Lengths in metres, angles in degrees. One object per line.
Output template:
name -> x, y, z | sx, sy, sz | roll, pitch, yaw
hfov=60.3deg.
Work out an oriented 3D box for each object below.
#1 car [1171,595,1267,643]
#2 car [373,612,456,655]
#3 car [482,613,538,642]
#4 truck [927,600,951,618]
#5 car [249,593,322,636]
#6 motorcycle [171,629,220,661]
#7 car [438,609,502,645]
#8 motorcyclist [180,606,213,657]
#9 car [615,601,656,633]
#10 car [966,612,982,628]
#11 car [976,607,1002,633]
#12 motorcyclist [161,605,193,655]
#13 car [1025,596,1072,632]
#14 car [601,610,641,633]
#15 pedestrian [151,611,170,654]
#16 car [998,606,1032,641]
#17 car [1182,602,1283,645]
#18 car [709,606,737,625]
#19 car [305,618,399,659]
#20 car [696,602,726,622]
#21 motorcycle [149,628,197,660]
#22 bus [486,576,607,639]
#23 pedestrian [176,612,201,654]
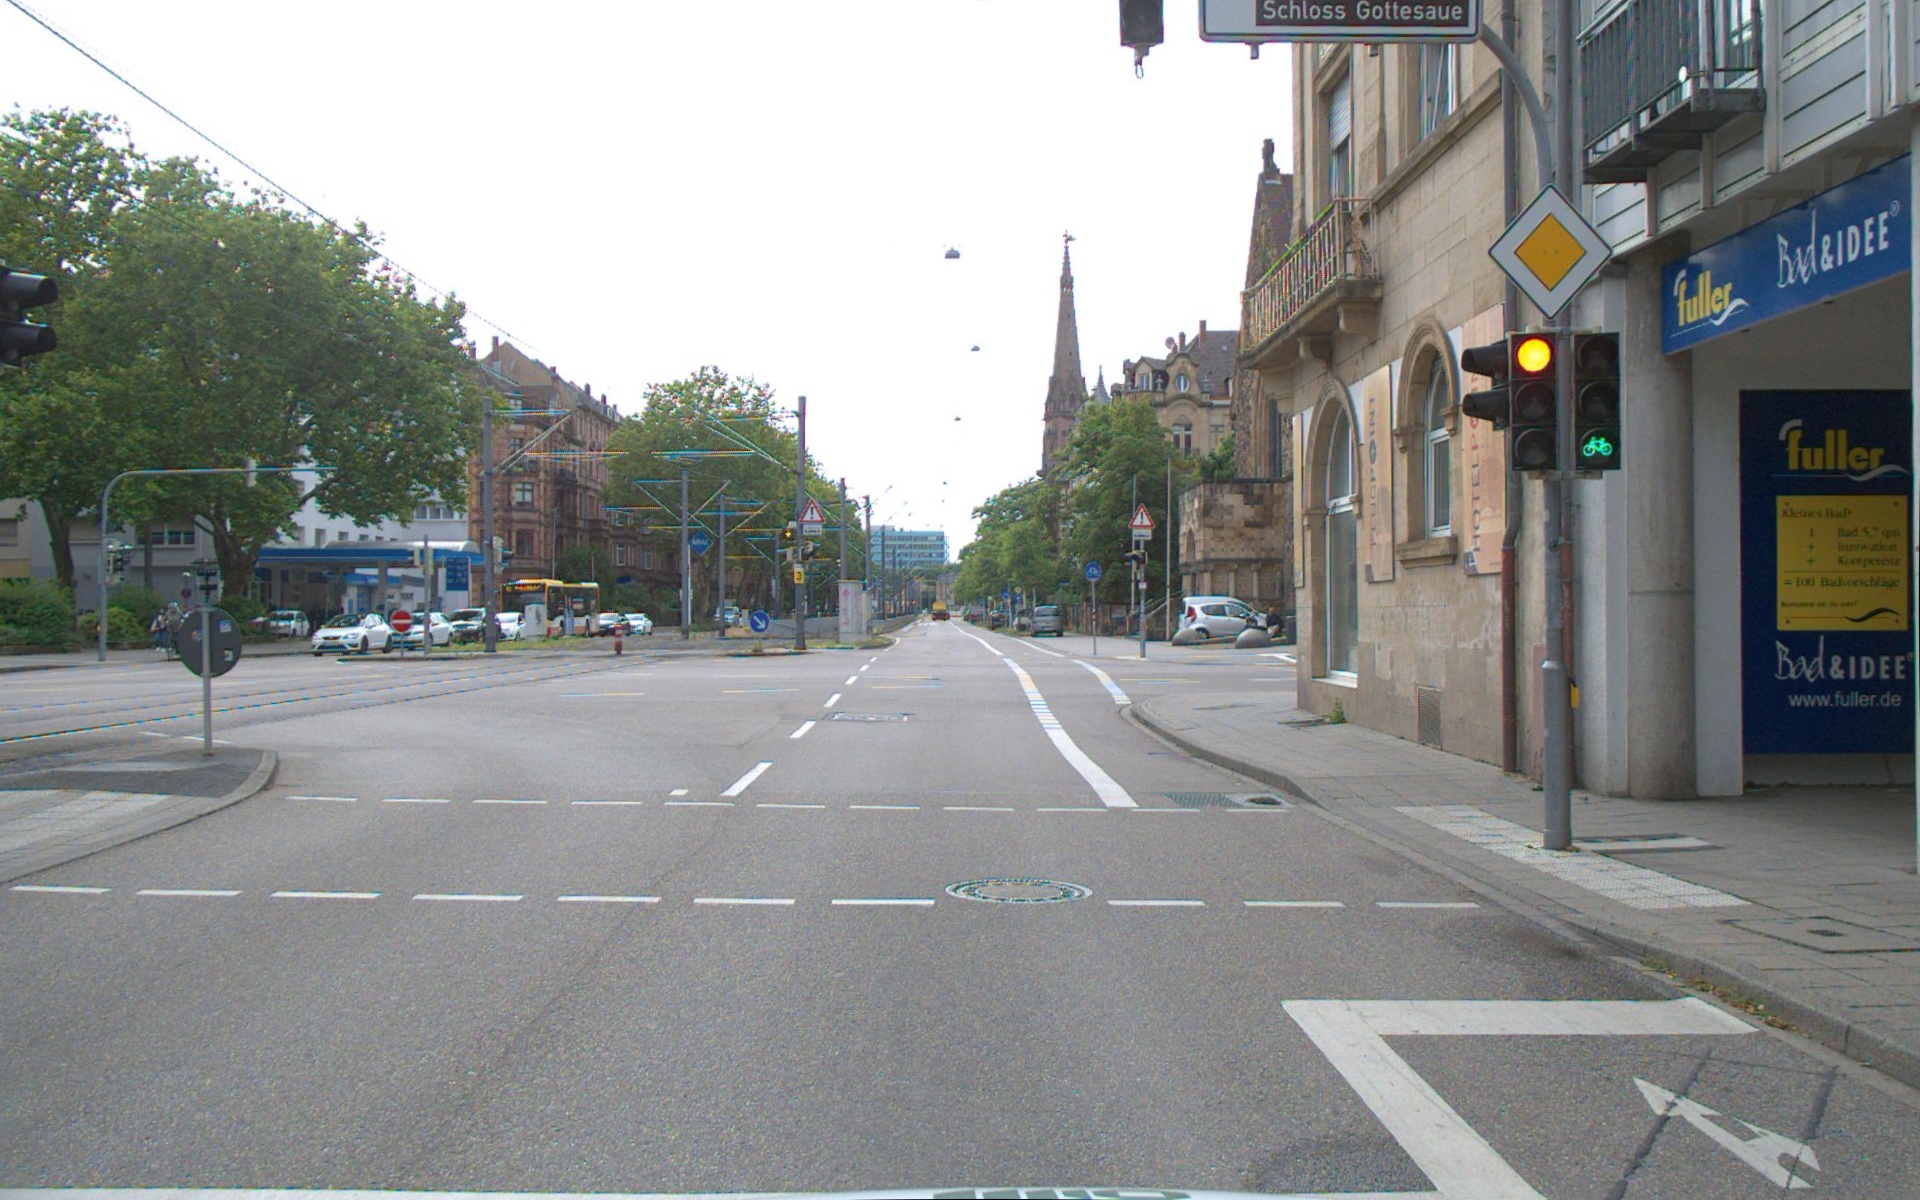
car -> 10.695, 0.790, 68.535 | 3.638, 1.888, 2.000 | 1, 0, -1
car -> -21.420, 1.292, 65.112 | 1.953, 1.622, 3.999 | 1, 0, -1
car -> -21.374, 1.288, 78.684 | 1.622, 1.344, 3.638 | 1, 0, 1
truck -> -3.245, 1.425, 258.754 | 2.991, 2.817, 9.819 | 0, 0, 3
car -> -32.901, 0.692, 80.797 | 1.953, 2.049, 3.999 | 0, 0, -1
motorcycle -> -23.444, 1.372, 50.764 | 0.594, 0.945, 1.951 | 0, 0, 0
car -> -21.219, 1.143, 71.765 | 1.622, 1.504, 3.638 | 1, 0, 1
motorcyclist -> -23.443, 0.949, 50.769 | 0.607, 1.546, 0.873 | 0, 0, -1
car -> -21.401, 1.135, 109.243 | 1.953, 2.049, 3.999 | 1, 0, -1
car -> 1.794, 2.650, 216.804 | 1.953, 2.049, 3.999 | 1, 0, -1
car -> 2.391, 1.621, 136.015 | 1.953, 2.049, 3.999 | 1, 0, -1
motorcyclist -> -24.585, 0.934, 51.937 | 0.607, 1.546, 0.873 | 0, 0, -1
car -> 4.822, 0.766, 90.027 | 1.951, 1.888, 4.030 | 1, 0, 12
car -> -20.860, 1.307, 101.900 | 1.622, 1.344, 3.638 | 1, 0, 1
pedestrian -> -28.441, 1.153, 58.829 | 0.466, 1.485, 0.426 | 0, 0, -1
car -> 3.298, 1.416, 99.674 | 1.952, 2.049, 4.000 | 1, 0, 1
car -> 10.677, 0.921, 65.046 | 3.638, 1.591, 2.000 | 1, 0, -1
car -> -21.322, 1.381, 148.975 | 1.953, 1.639, 3.999 | 1, 0, -1
car -> -21.436, 1.335, 58.473 | 1.711, 1.344, 4.075 | 1, 0, 1
car -> -21.207, 1.024, 141.166 | 1.953, 1.639, 3.999 | 1, 0, -1
motorcycle -> -24.605, 1.369, 51.737 | 0.594, 0.945, 1.951 | 0, 0, 0
bus -> -21.960, 0.421, 88.738 | 3.164, 3.088, 12.312 | 1, 0, 1
pedestrian -> -27.514, 1.175, 59.012 | 0.634, 1.505, 0.557 | 0, 0, -1
